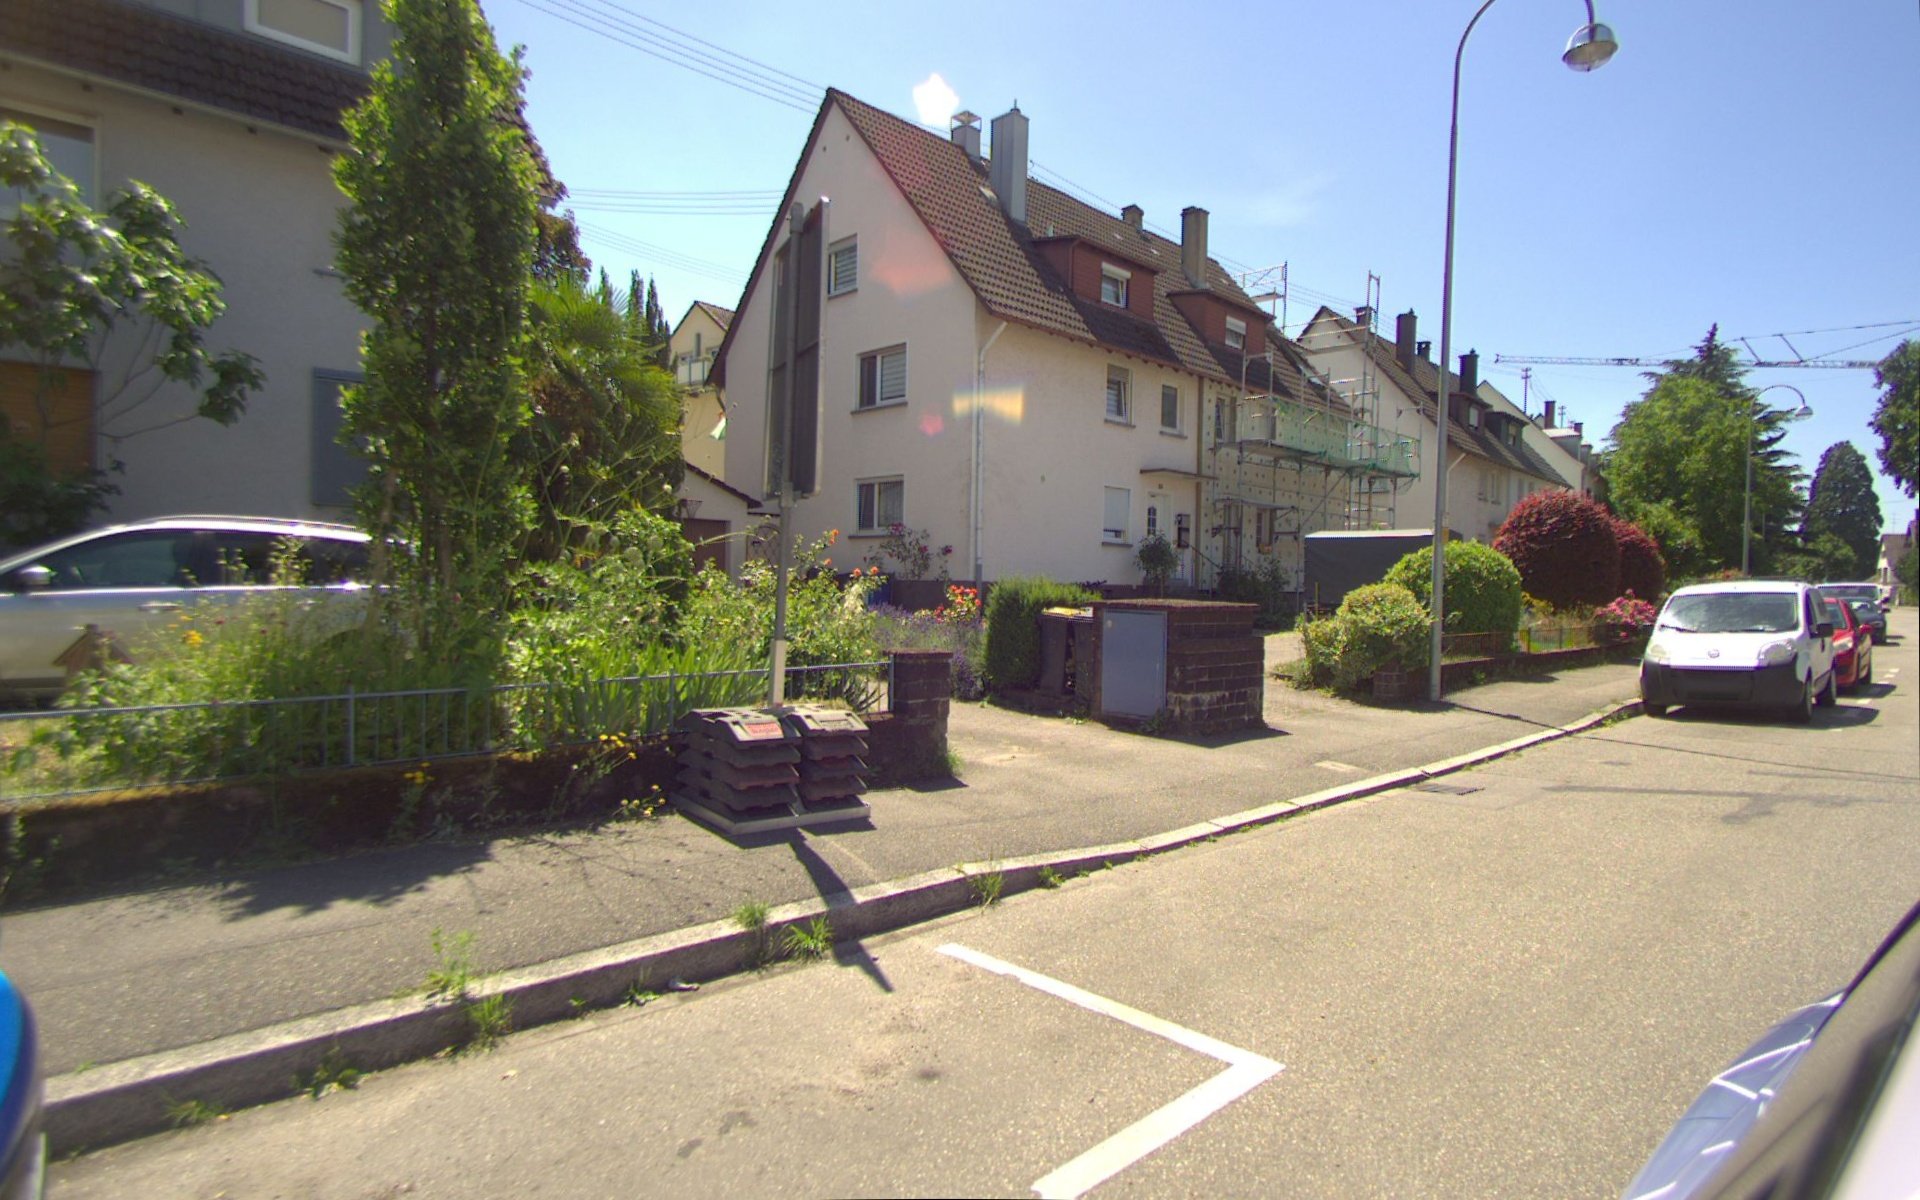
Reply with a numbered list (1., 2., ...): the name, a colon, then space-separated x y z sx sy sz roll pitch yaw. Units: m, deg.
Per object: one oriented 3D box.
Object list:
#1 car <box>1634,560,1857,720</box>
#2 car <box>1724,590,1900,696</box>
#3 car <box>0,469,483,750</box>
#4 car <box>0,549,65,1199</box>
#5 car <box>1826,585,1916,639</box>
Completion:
1. car: 10.454 0.459 13.375 3.874 1.802 1.686 -1 -1 -43
2. car: 13.941 0.598 16.498 3.873 1.516 1.686 -1 0 -42
3. car: -6.417 0.037 8.002 4.452 1.873 1.920 -1 1 -41
4. car: -3.212 0.698 0.365 4.286 1.472 1.687 -1 0 -41
5. car: 27.593 0.323 30.608 3.874 1.516 1.686 -1 0 -43
